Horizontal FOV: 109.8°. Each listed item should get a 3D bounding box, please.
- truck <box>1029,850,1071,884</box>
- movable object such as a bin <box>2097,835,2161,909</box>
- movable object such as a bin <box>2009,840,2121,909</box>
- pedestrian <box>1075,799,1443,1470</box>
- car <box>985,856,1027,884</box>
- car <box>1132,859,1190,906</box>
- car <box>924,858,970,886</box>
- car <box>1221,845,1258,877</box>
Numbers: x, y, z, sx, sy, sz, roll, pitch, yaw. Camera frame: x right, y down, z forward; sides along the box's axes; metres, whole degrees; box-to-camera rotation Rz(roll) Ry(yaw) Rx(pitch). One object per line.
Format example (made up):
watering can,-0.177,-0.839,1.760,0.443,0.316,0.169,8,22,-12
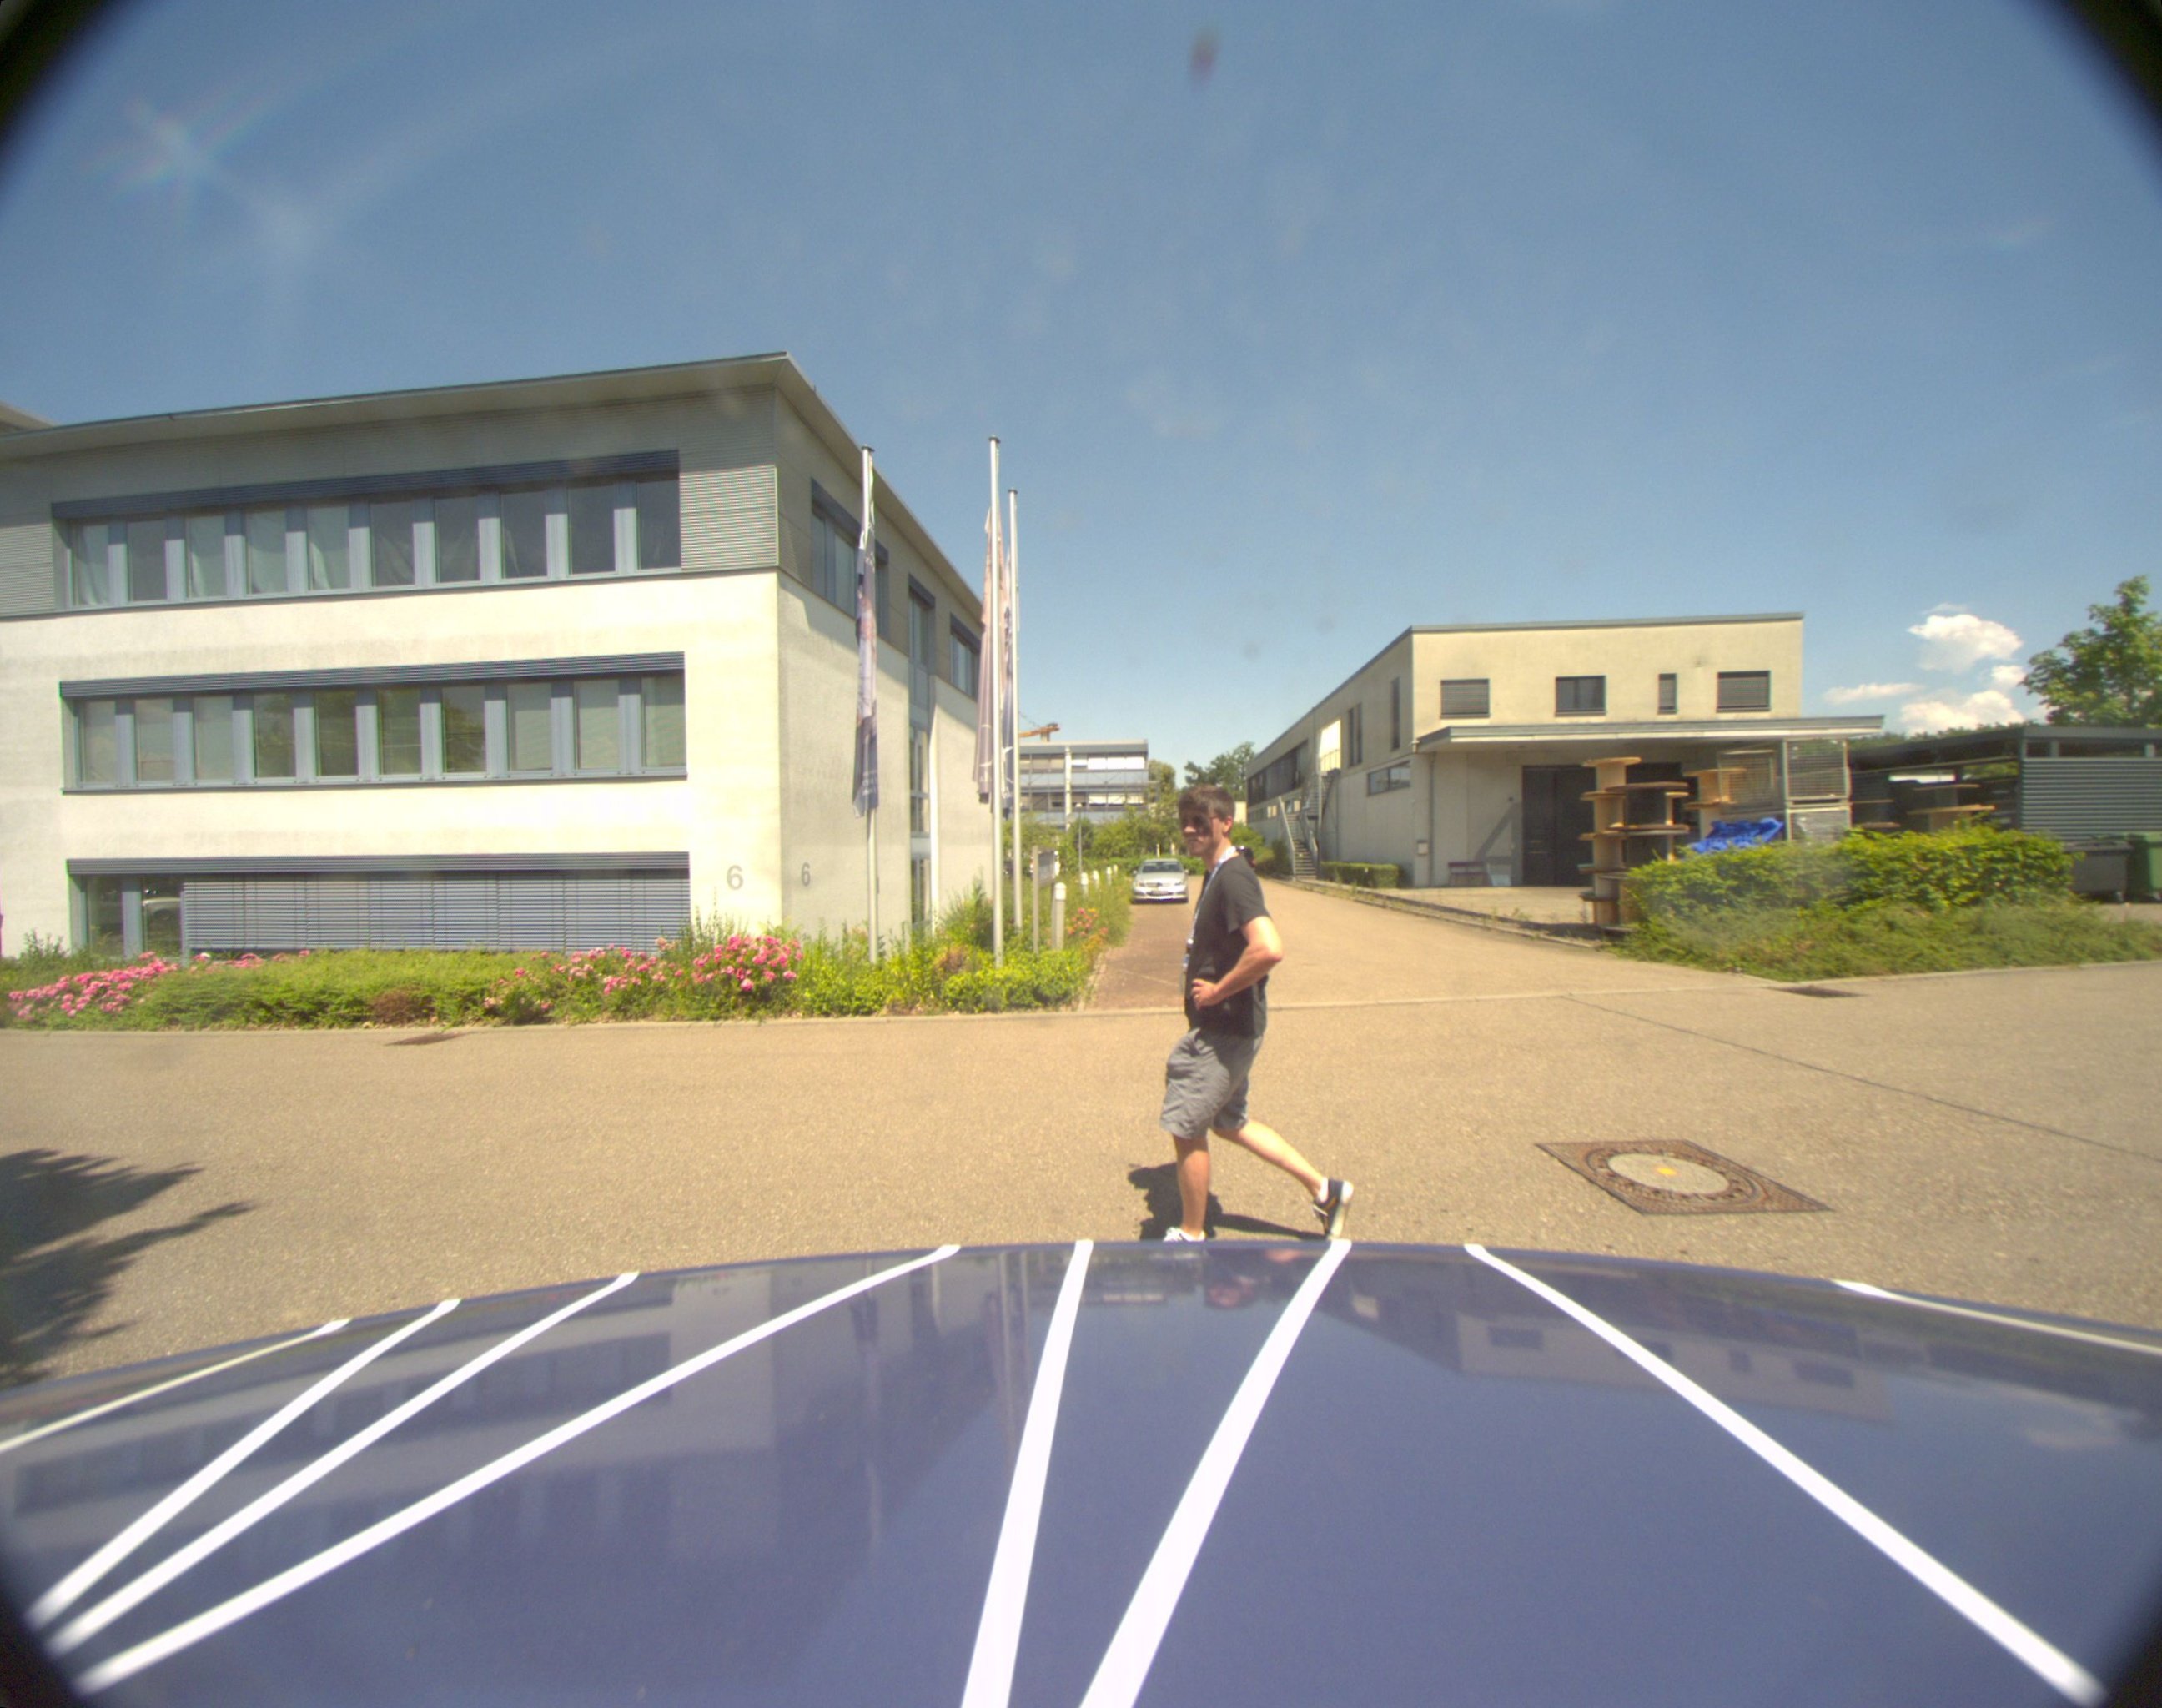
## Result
truck,-1.782,0.722,45.341,1.998,1.882,4.001,-2,0,4
movable object such as a bin,20.119,0.320,14.224,1.071,1.329,0.760,-2,1,10
movable object such as a bin,18.812,0.381,14.554,1.071,1.263,0.760,-2,1,10
pedestrian,0.511,0.765,2.551,0.904,1.809,0.860,-2,1,-7
car,-4.536,0.934,46.434,1.787,1.537,4.001,-2,1,5
car,2.737,0.897,25.389,1.710,1.383,3.813,-1,1,9
car,-8.196,1.066,46.814,1.787,1.537,4.001,-2,1,5
car,9.403,0.382,45.422,1.786,1.793,4.001,-2,1,7
